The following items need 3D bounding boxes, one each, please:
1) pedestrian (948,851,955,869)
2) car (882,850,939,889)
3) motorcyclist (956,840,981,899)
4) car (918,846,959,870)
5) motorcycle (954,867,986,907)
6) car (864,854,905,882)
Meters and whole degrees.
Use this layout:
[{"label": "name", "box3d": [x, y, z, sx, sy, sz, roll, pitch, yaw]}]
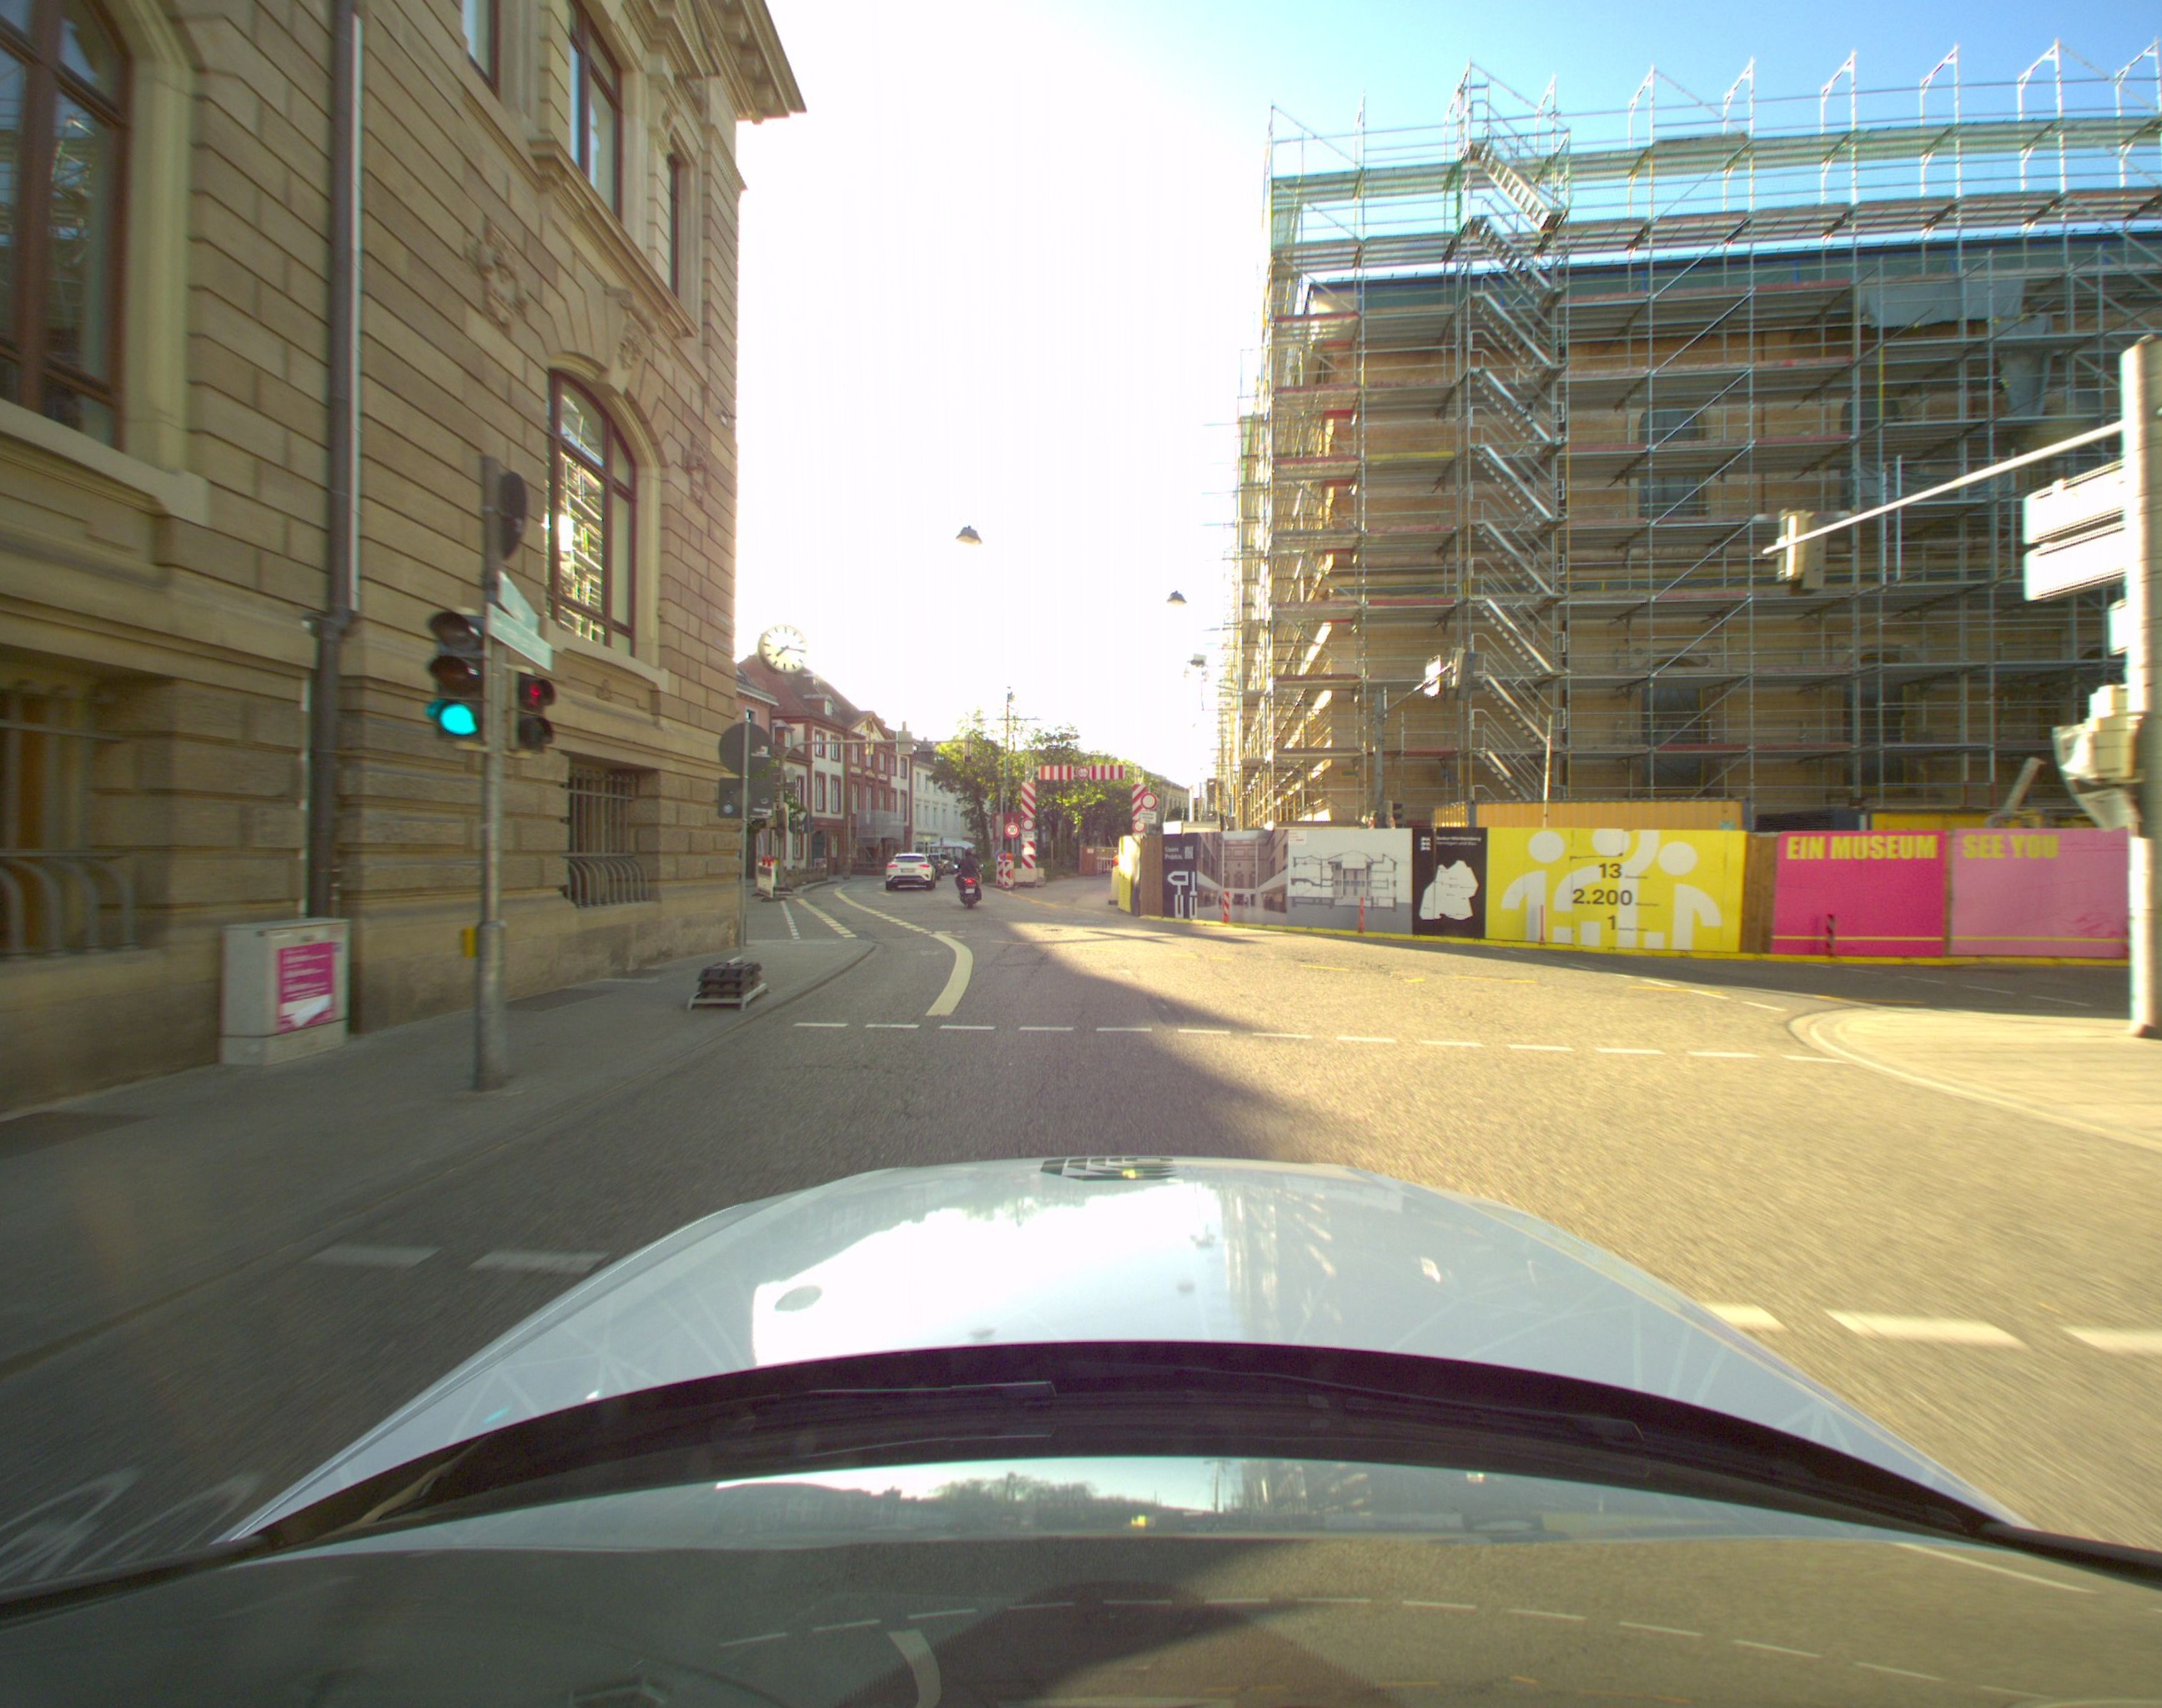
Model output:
[{"label": "pedestrian", "box3d": [-12.785, 0.571, 80.290, 0.434, 1.775, 0.601, -1, 0, 22]}, {"label": "car", "box3d": [-6.878, 0.572, 33.213, 1.848, 1.480, 4.049, 1, 0, -6]}, {"label": "motorcyclist", "box3d": [-3.196, 0.446, 23.149, 0.657, 1.650, 0.648, 1, 0, -11]}, {"label": "car", "box3d": [-10.770, 0.296, 61.830, 1.829, 1.713, 4.068, 1, 0, 10]}, {"label": "motorcycle", "box3d": [-3.168, 0.921, 23.130, 0.797, 1.066, 1.718, 1, 0, -11]}, {"label": "car", "box3d": [-10.988, 0.741, 45.754, 1.839, 1.463, 4.045, 1, 0, -9]}]
